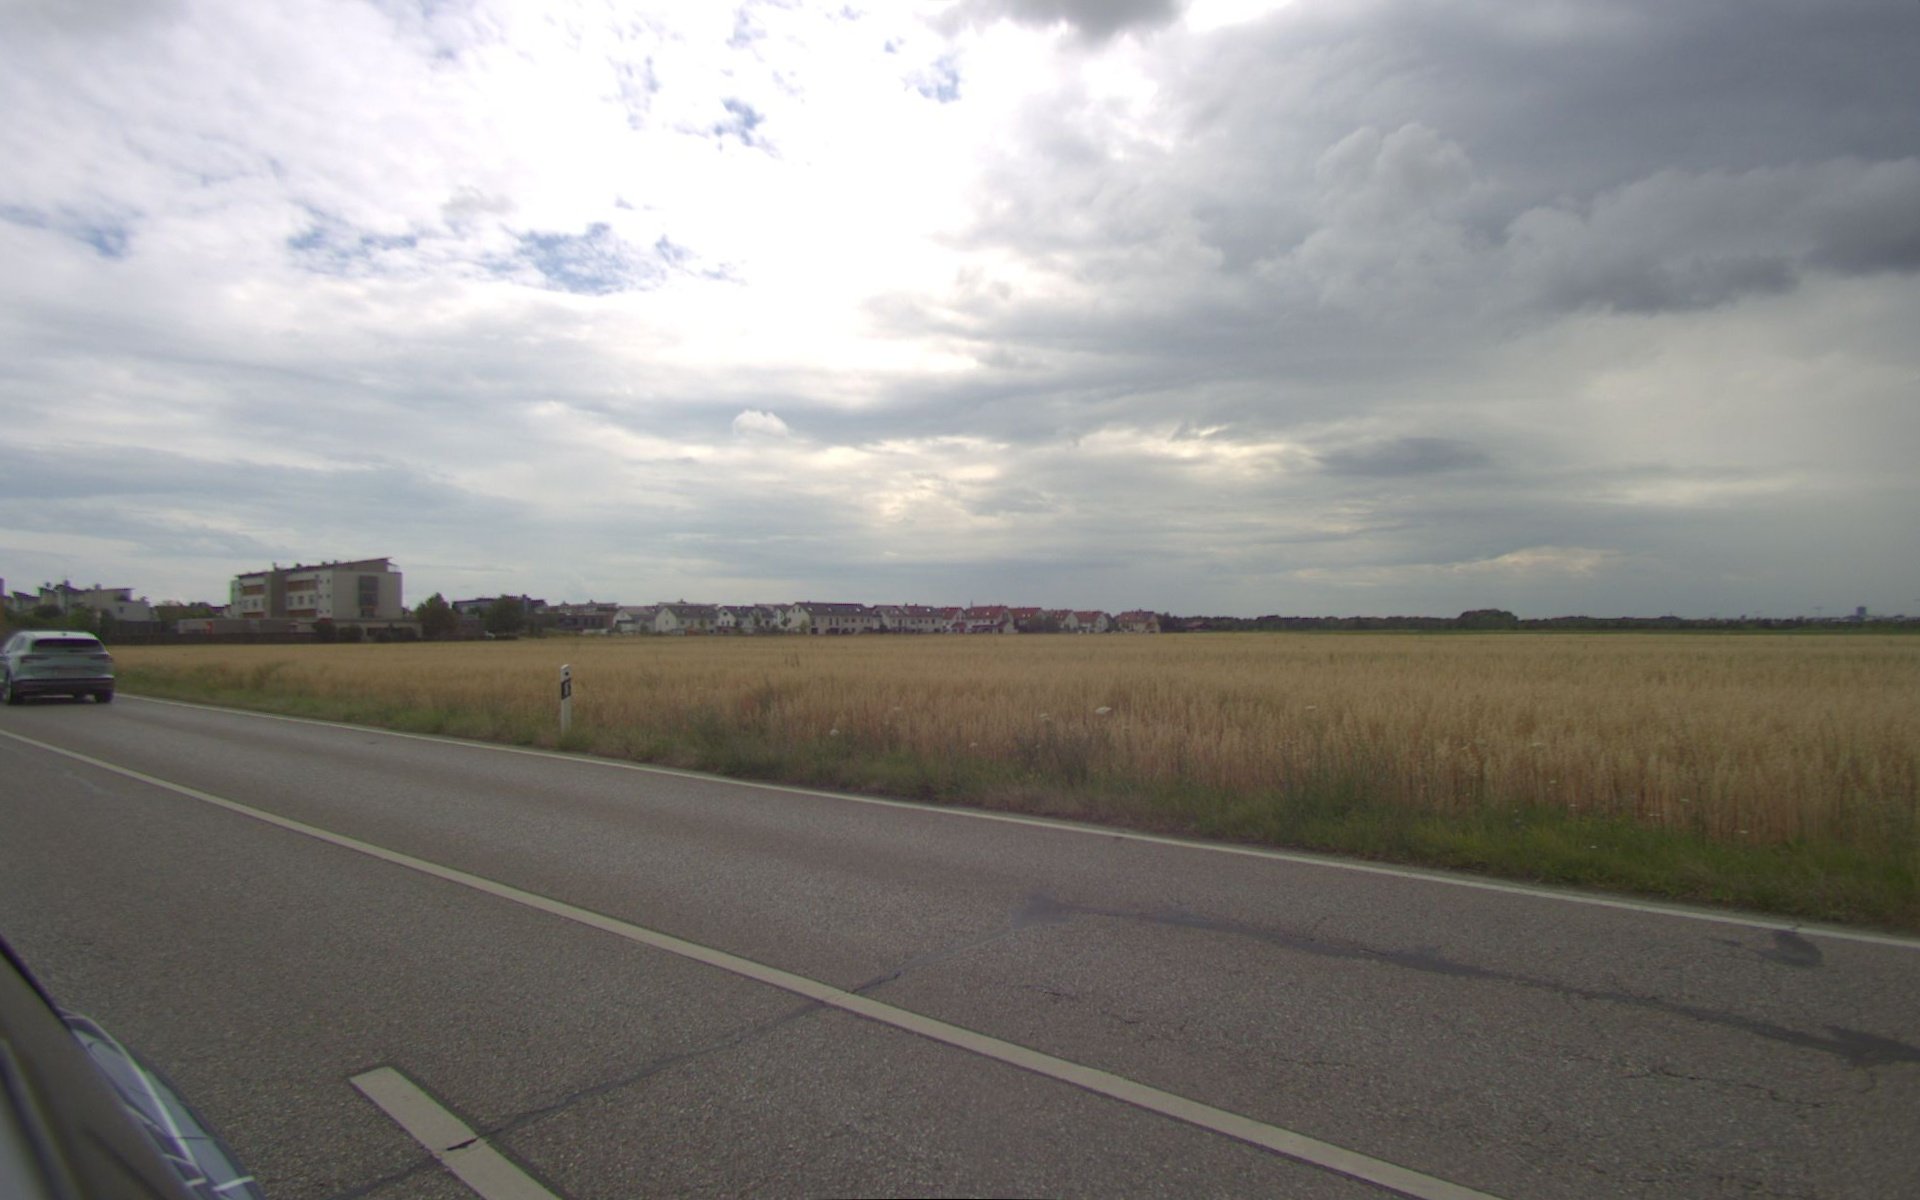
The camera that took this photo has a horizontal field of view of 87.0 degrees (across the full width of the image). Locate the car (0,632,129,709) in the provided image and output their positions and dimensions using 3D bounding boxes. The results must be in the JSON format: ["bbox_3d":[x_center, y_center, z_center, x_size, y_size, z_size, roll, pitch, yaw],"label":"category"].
[{"bbox_3d":[-21.204,1.590,23.543,4.762,1.593,2.043,-2,-4,40],"label":"car"}]
